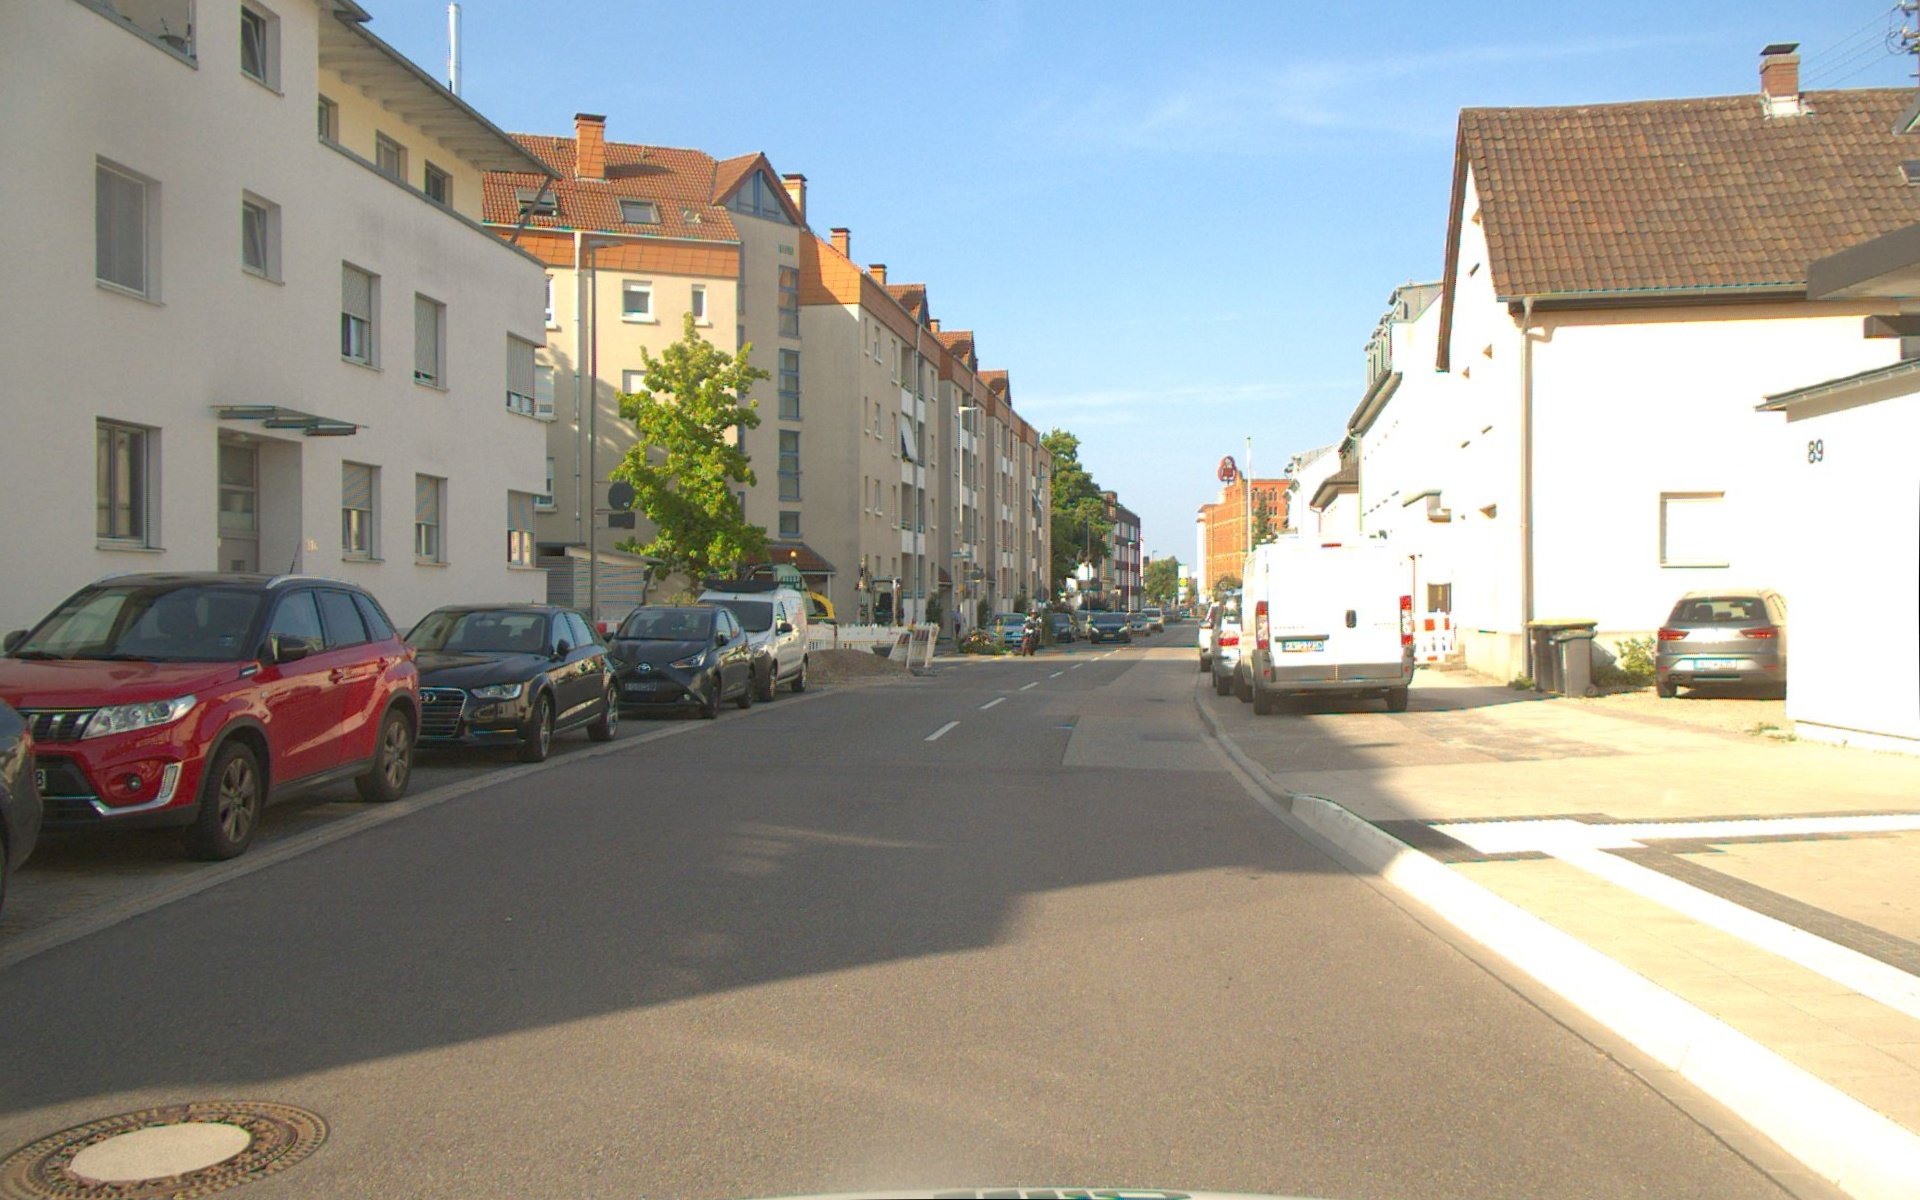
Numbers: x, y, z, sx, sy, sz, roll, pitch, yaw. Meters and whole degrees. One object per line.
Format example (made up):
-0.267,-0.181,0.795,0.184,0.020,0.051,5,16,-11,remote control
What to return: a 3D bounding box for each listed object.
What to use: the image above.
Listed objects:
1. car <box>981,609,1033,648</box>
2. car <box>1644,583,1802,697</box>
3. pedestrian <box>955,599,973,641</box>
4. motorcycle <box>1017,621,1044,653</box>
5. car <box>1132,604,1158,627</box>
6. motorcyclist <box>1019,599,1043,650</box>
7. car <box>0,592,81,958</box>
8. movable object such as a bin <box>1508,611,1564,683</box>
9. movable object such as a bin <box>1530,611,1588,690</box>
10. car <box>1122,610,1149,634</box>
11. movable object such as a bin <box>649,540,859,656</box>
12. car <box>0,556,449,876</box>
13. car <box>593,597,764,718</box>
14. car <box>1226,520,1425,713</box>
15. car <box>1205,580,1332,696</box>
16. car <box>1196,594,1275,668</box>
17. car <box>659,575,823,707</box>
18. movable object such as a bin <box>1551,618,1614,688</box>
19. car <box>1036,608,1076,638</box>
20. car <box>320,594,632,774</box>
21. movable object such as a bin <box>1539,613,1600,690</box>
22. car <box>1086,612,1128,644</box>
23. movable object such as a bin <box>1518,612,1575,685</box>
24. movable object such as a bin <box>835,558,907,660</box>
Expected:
1.835,1.076,63.764,1.605,1.420,3.674,-1,0,7,car
10.756,0.512,23.181,1.625,1.432,3.972,-2,0,30,car
0.187,0.888,73.288,0.703,1.850,0.746,0,0,9,pedestrian
2.370,1.235,55.500,0.752,1.002,2.200,1,0,6,motorcycle
14.245,1.183,127.155,1.881,1.798,4.341,-1,0,8,car
2.394,0.812,55.580,0.752,1.681,0.844,1,0,6,motorcyclist
-4.832,0.711,5.132,1.691,1.503,4.503,1,0,1,car
9.045,0.736,25.977,0.712,1.112,0.626,0,-1,6,movable object such as a bin
8.940,0.747,24.697,0.712,1.152,0.554,0,-1,6,movable object such as a bin
11.276,1.407,106.110,1.583,1.480,3.688,-1,0,8,car
-5.434,-0.043,44.077,5.391,2.951,2.109,1,0,-6,movable object such as a bin
-4.847,0.586,10.666,1.691,1.650,4.264,0,0,1,car
-3.730,0.713,22.433,1.461,1.491,3.516,1,0,4,car
4.996,0.212,23.303,2.128,2.368,5.001,-2,0,6,car
5.150,0.594,28.105,1.740,1.771,4.486,-2,0,6,car
6.810,0.727,41.150,1.773,1.713,4.480,-2,0,8,car
-3.513,0.614,27.329,1.690,1.995,4.442,1,0,6,car
8.801,0.744,23.402,0.712,0.975,0.554,0,-1,6,movable object such as a bin
4.754,1.124,81.627,1.650,1.430,4.087,1,0,8,car
-4.520,0.707,16.139,1.691,1.503,4.264,1,0,1,car
8.871,0.747,24.104,0.712,1.112,0.554,0,-1,6,movable object such as a bin
6.985,1.297,78.331,1.791,1.445,4.212,-1,0,8,car
8.985,0.735,25.367,0.712,1.112,0.554,0,-1,6,movable object such as a bin
-2.865,0.256,53.930,1.612,3.193,3.903,1,1,7,movable object such as a bin
